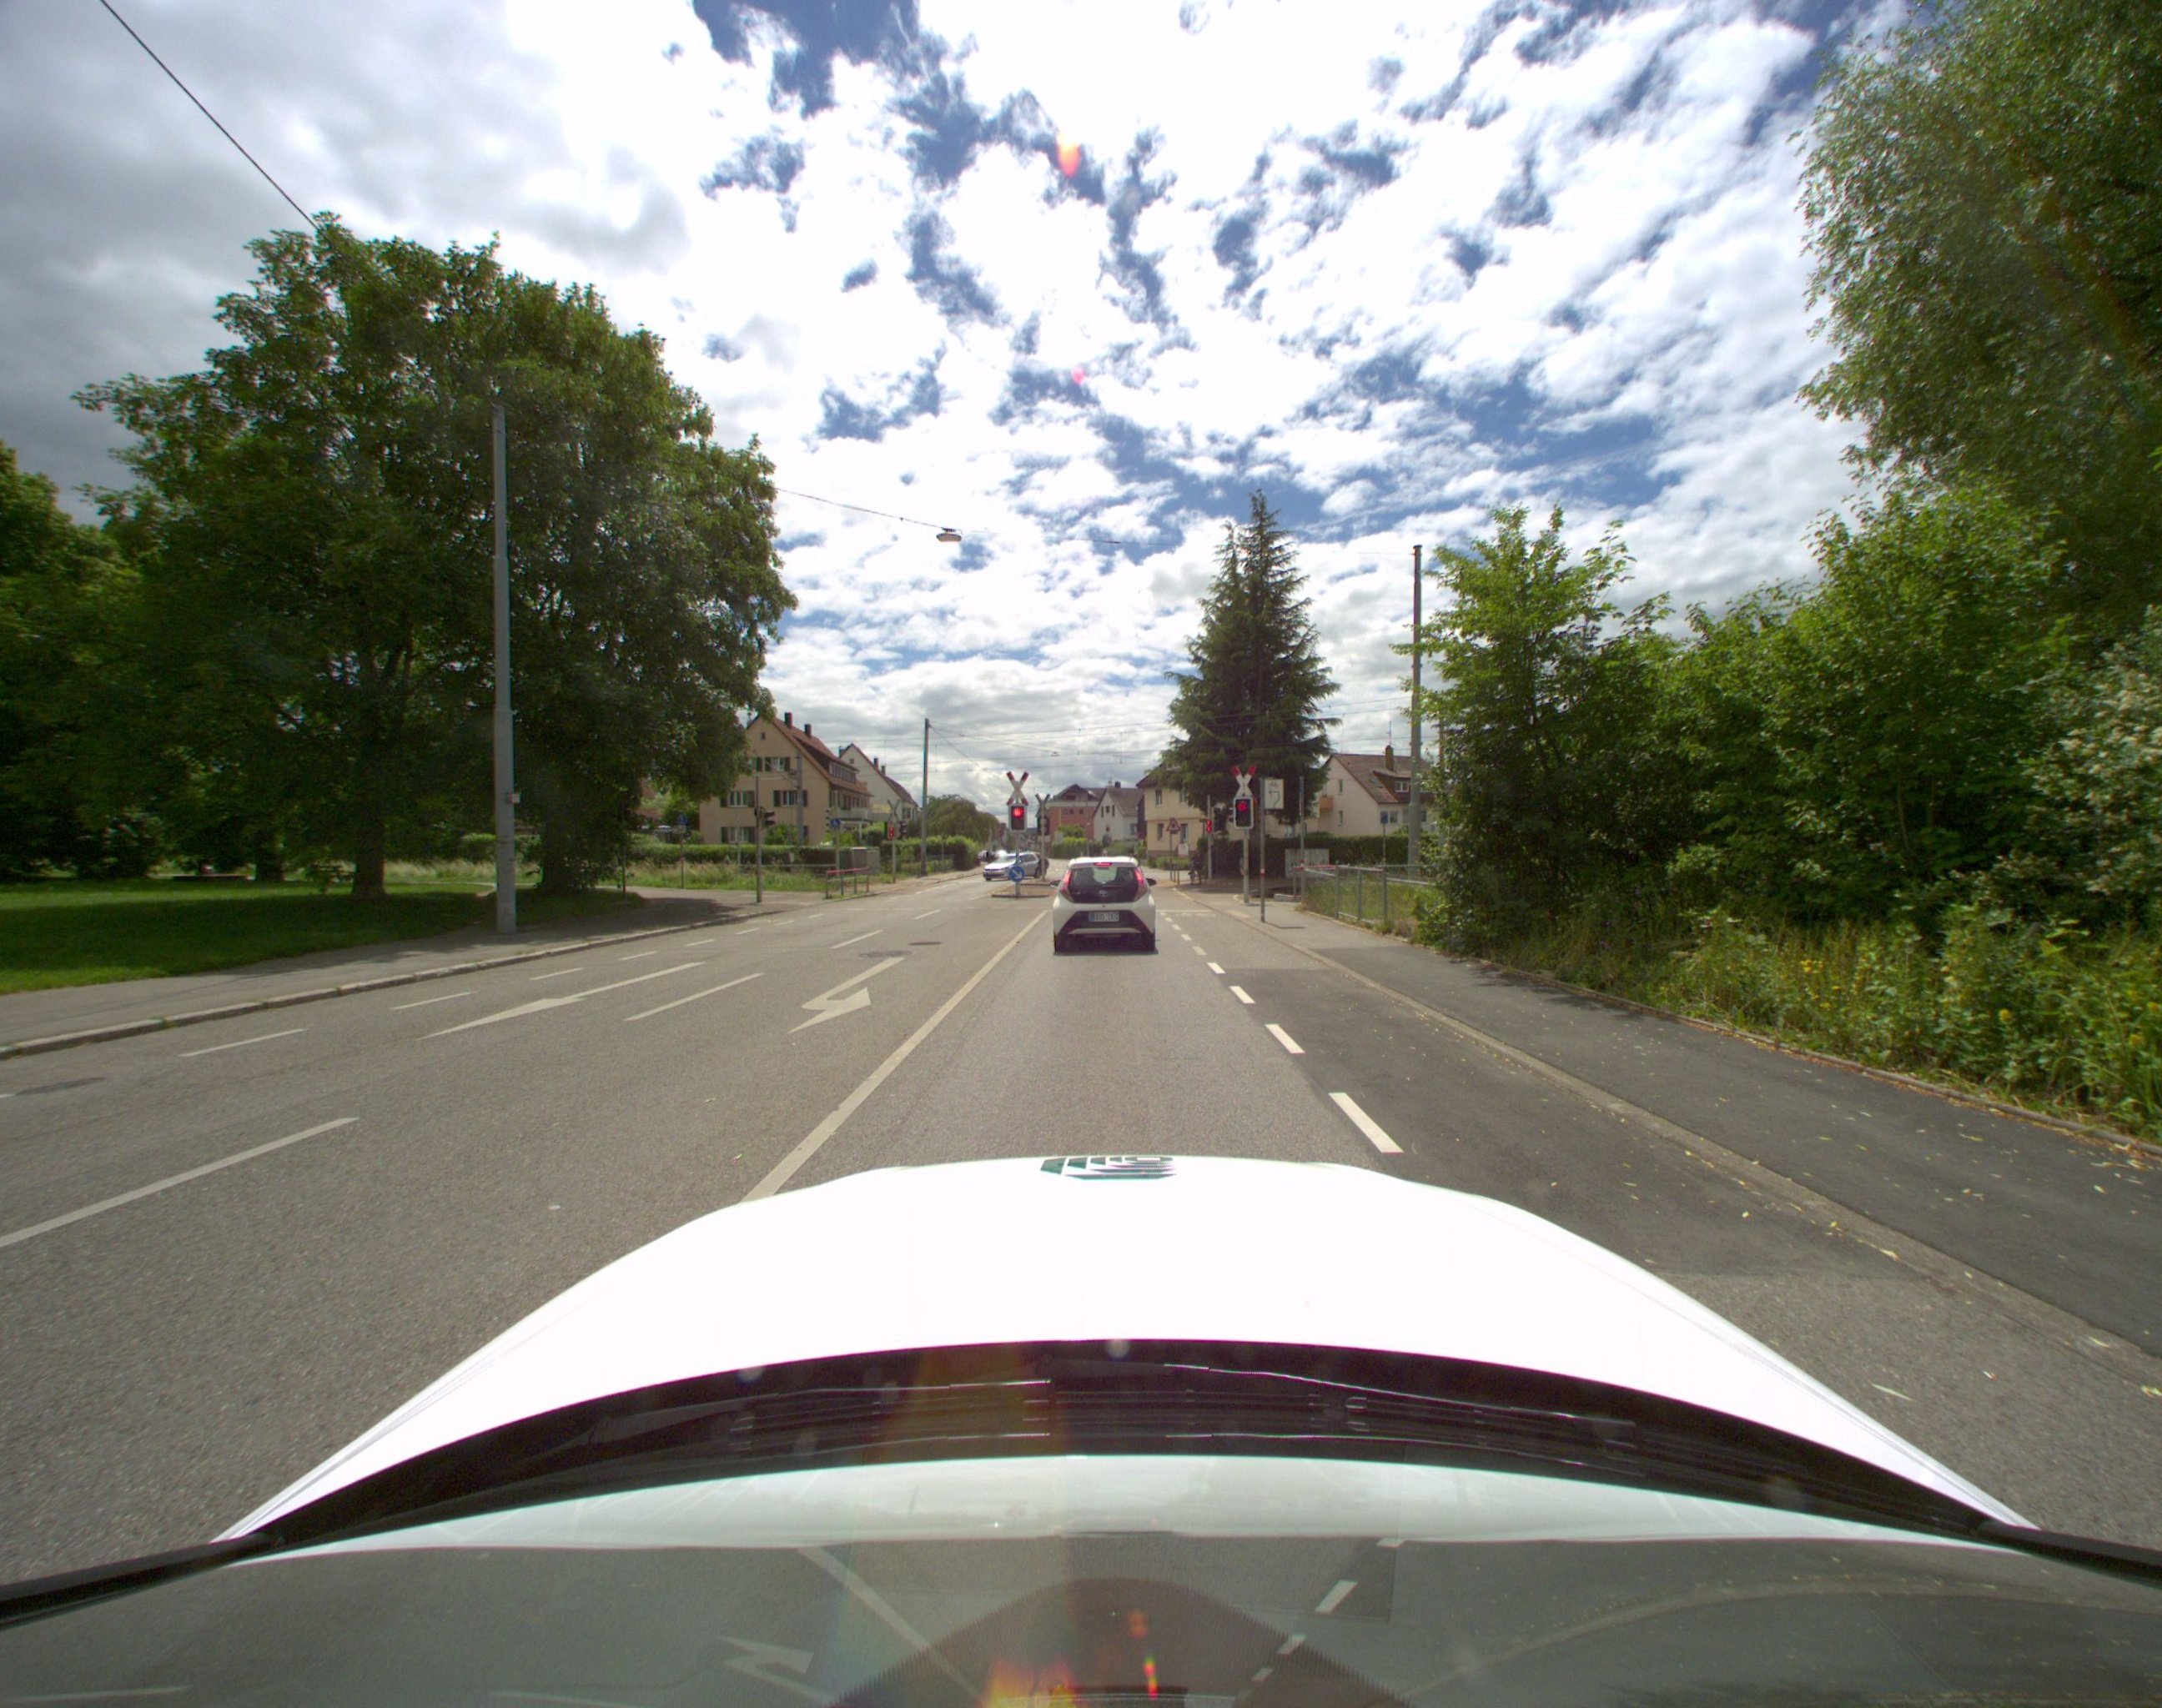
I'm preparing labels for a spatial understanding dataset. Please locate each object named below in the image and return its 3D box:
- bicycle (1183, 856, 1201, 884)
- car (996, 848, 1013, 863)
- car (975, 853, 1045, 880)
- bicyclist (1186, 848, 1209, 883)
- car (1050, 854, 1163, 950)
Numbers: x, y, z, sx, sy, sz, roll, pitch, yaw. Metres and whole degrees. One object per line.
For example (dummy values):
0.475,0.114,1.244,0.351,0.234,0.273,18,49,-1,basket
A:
5.136,0.735,37.674,0.456,1.172,1.477,-4,2,-4,bicycle
-9.092,0.161,96.908,1.990,1.719,3.994,0,0,-5,car
-3.941,0.678,45.982,1.887,1.441,4.124,0,0,30,car
5.364,0.528,37.649,0.839,1.553,0.755,-4,2,-4,bicyclist
0.341,0.732,14.168,1.716,1.442,3.706,0,0,-2,car
